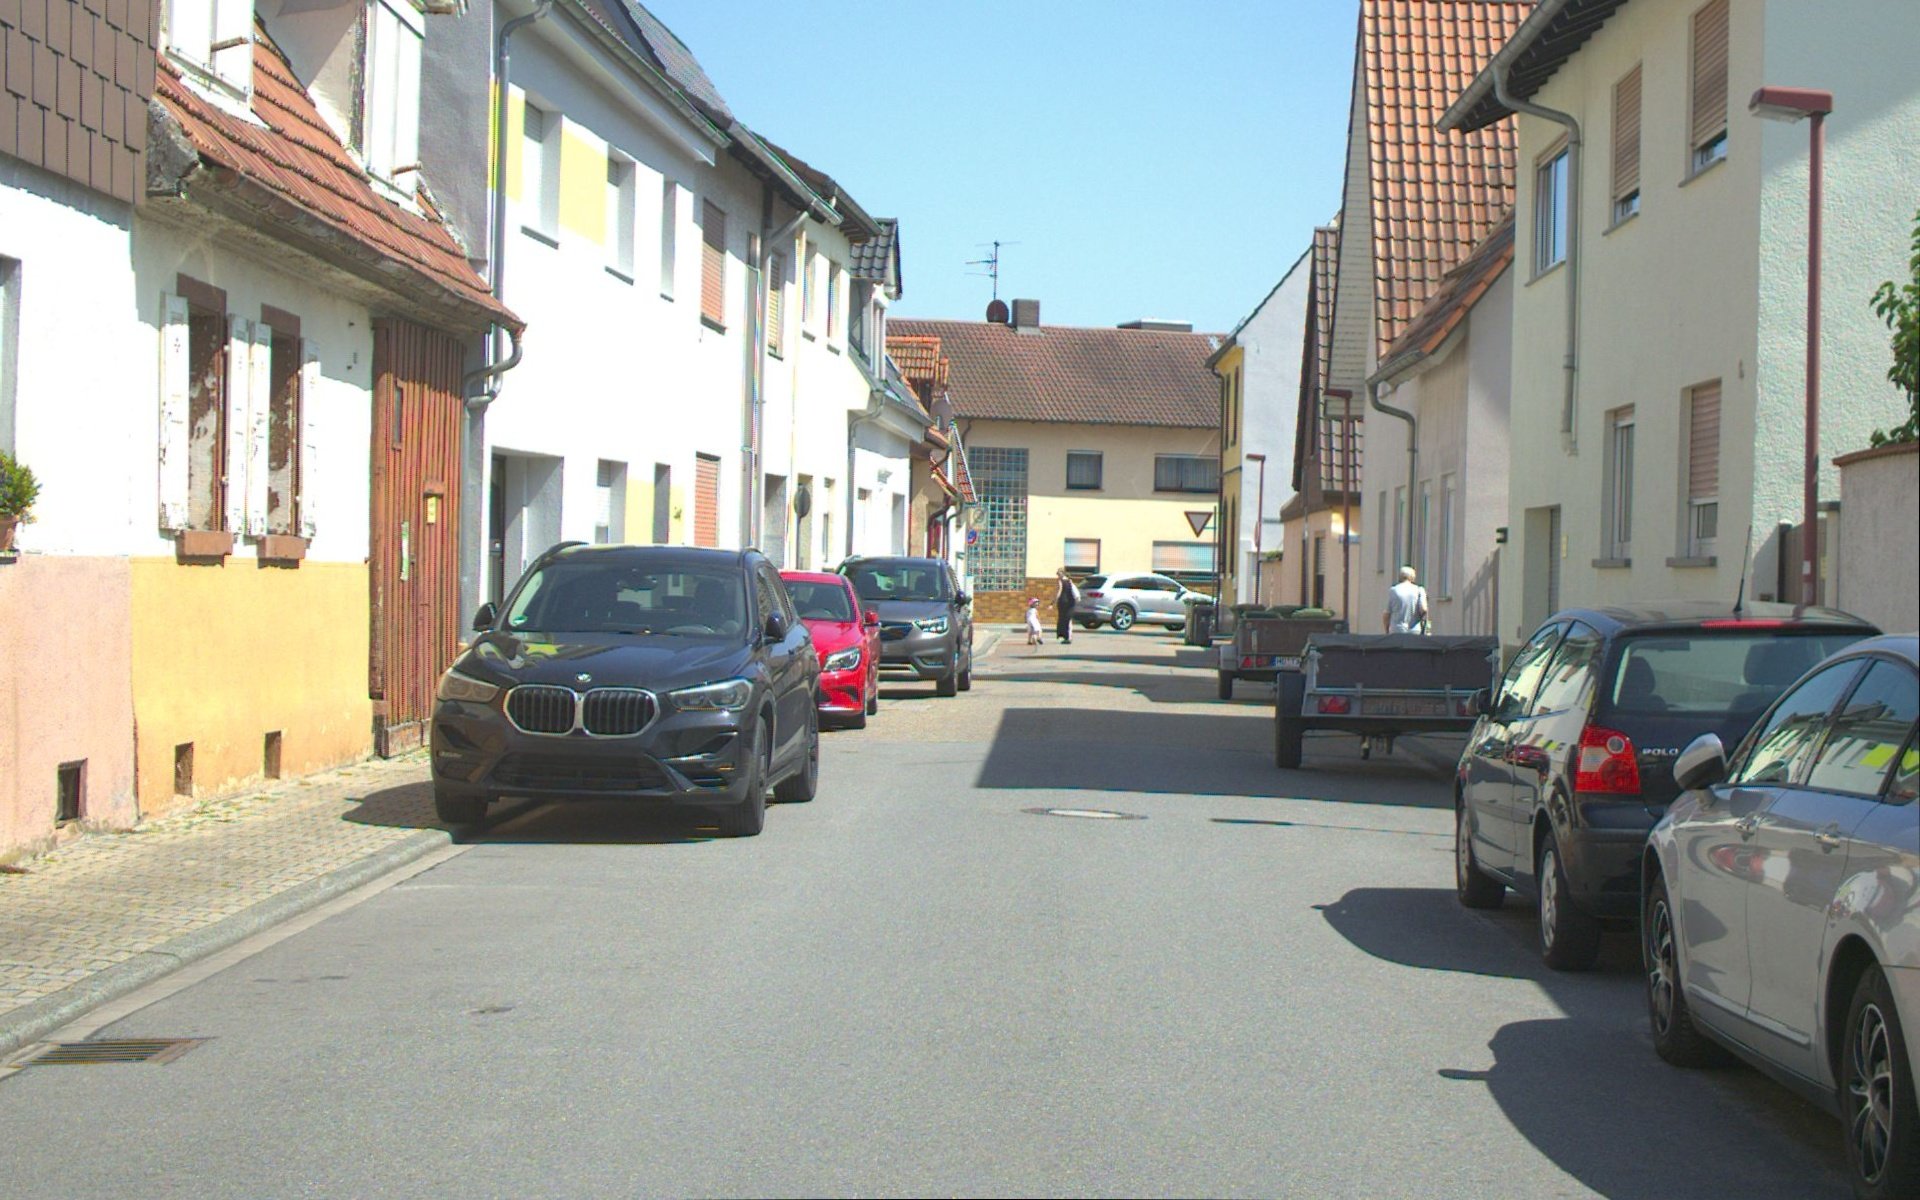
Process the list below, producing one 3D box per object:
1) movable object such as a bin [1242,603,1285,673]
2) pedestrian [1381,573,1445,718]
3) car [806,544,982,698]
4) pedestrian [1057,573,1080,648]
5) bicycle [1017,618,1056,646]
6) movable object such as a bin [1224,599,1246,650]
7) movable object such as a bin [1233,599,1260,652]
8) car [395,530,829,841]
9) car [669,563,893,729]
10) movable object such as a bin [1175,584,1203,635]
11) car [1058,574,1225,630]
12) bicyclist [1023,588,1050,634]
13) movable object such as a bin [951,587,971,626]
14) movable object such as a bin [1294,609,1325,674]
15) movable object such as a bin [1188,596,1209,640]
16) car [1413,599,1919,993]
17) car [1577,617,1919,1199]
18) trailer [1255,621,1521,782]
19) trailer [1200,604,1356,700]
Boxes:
[{"bbox_3d":[4.605,0.573,52.191,0.585,1.029,0.595,1,0,1],"label":"movable object such as a bin"},{"bbox_3d":[4.984,0.508,37.841,0.595,1.559,0.557,2,-3,0],"label":"pedestrian"},{"bbox_3d":[-0.720,0.232,40.528,1.800,1.698,4.487,1,0,2],"label":"car"},{"bbox_3d":[2.336,0.215,74.121,0.411,1.604,0.368,1,0,-7],"label":"pedestrian"},{"bbox_3d":[1.640,0.682,73.870,0.441,0.565,0.939,1,0,-26],"label":"bicycle"},{"bbox_3d":[6.119,0.541,76.489,0.425,1.124,0.414,1,0,0],"label":"movable object such as a bin"},{"bbox_3d":[6.157,0.551,73.919,0.525,1.124,0.366,1,0,0],"label":"movable object such as a bin"},{"bbox_3d":[-1.899,0.436,20.169,1.800,1.568,4.614,1,0,3],"label":"car"},{"bbox_3d":[-1.635,0.402,32.782,1.800,1.436,4.487,1,0,1],"label":"car"},{"bbox_3d":[5.175,0.217,77.706,0.569,1.124,0.453,1,0,0],"label":"movable object such as a bin"},{"bbox_3d":[5.495,0.058,103.904,4.748,1.579,1.802,1,0,-28],"label":"car"},{"bbox_3d":[1.636,0.237,73.854,0.461,0.956,0.352,2,-2,-26],"label":"bicyclist"},{"bbox_3d":[0.022,0.157,83.391,0.448,0.918,0.404,1,0,0],"label":"movable object such as a bin"},{"bbox_3d":[5.960,0.700,58.598,0.457,1.083,0.502,1,0,1],"label":"movable object such as a bin"},{"bbox_3d":[5.352,0.406,77.089,0.424,0.972,0.473,1,0,0],"label":"movable object such as a bin"},{"bbox_3d":[3.082,0.740,14.979,1.649,1.431,4.134,1,0,0],"label":"car"},{"bbox_3d":[3.055,0.808,9.872,1.791,1.476,4.933,0,0,1],"label":"car"},{"bbox_3d":[3.316,0.762,27.190,1.817,1.086,3.481,2,1,3],"label":"trailer"},{"bbox_3d":[3.851,0.612,42.086,1.699,1.029,3.481,2,1,2],"label":"trailer"}]
